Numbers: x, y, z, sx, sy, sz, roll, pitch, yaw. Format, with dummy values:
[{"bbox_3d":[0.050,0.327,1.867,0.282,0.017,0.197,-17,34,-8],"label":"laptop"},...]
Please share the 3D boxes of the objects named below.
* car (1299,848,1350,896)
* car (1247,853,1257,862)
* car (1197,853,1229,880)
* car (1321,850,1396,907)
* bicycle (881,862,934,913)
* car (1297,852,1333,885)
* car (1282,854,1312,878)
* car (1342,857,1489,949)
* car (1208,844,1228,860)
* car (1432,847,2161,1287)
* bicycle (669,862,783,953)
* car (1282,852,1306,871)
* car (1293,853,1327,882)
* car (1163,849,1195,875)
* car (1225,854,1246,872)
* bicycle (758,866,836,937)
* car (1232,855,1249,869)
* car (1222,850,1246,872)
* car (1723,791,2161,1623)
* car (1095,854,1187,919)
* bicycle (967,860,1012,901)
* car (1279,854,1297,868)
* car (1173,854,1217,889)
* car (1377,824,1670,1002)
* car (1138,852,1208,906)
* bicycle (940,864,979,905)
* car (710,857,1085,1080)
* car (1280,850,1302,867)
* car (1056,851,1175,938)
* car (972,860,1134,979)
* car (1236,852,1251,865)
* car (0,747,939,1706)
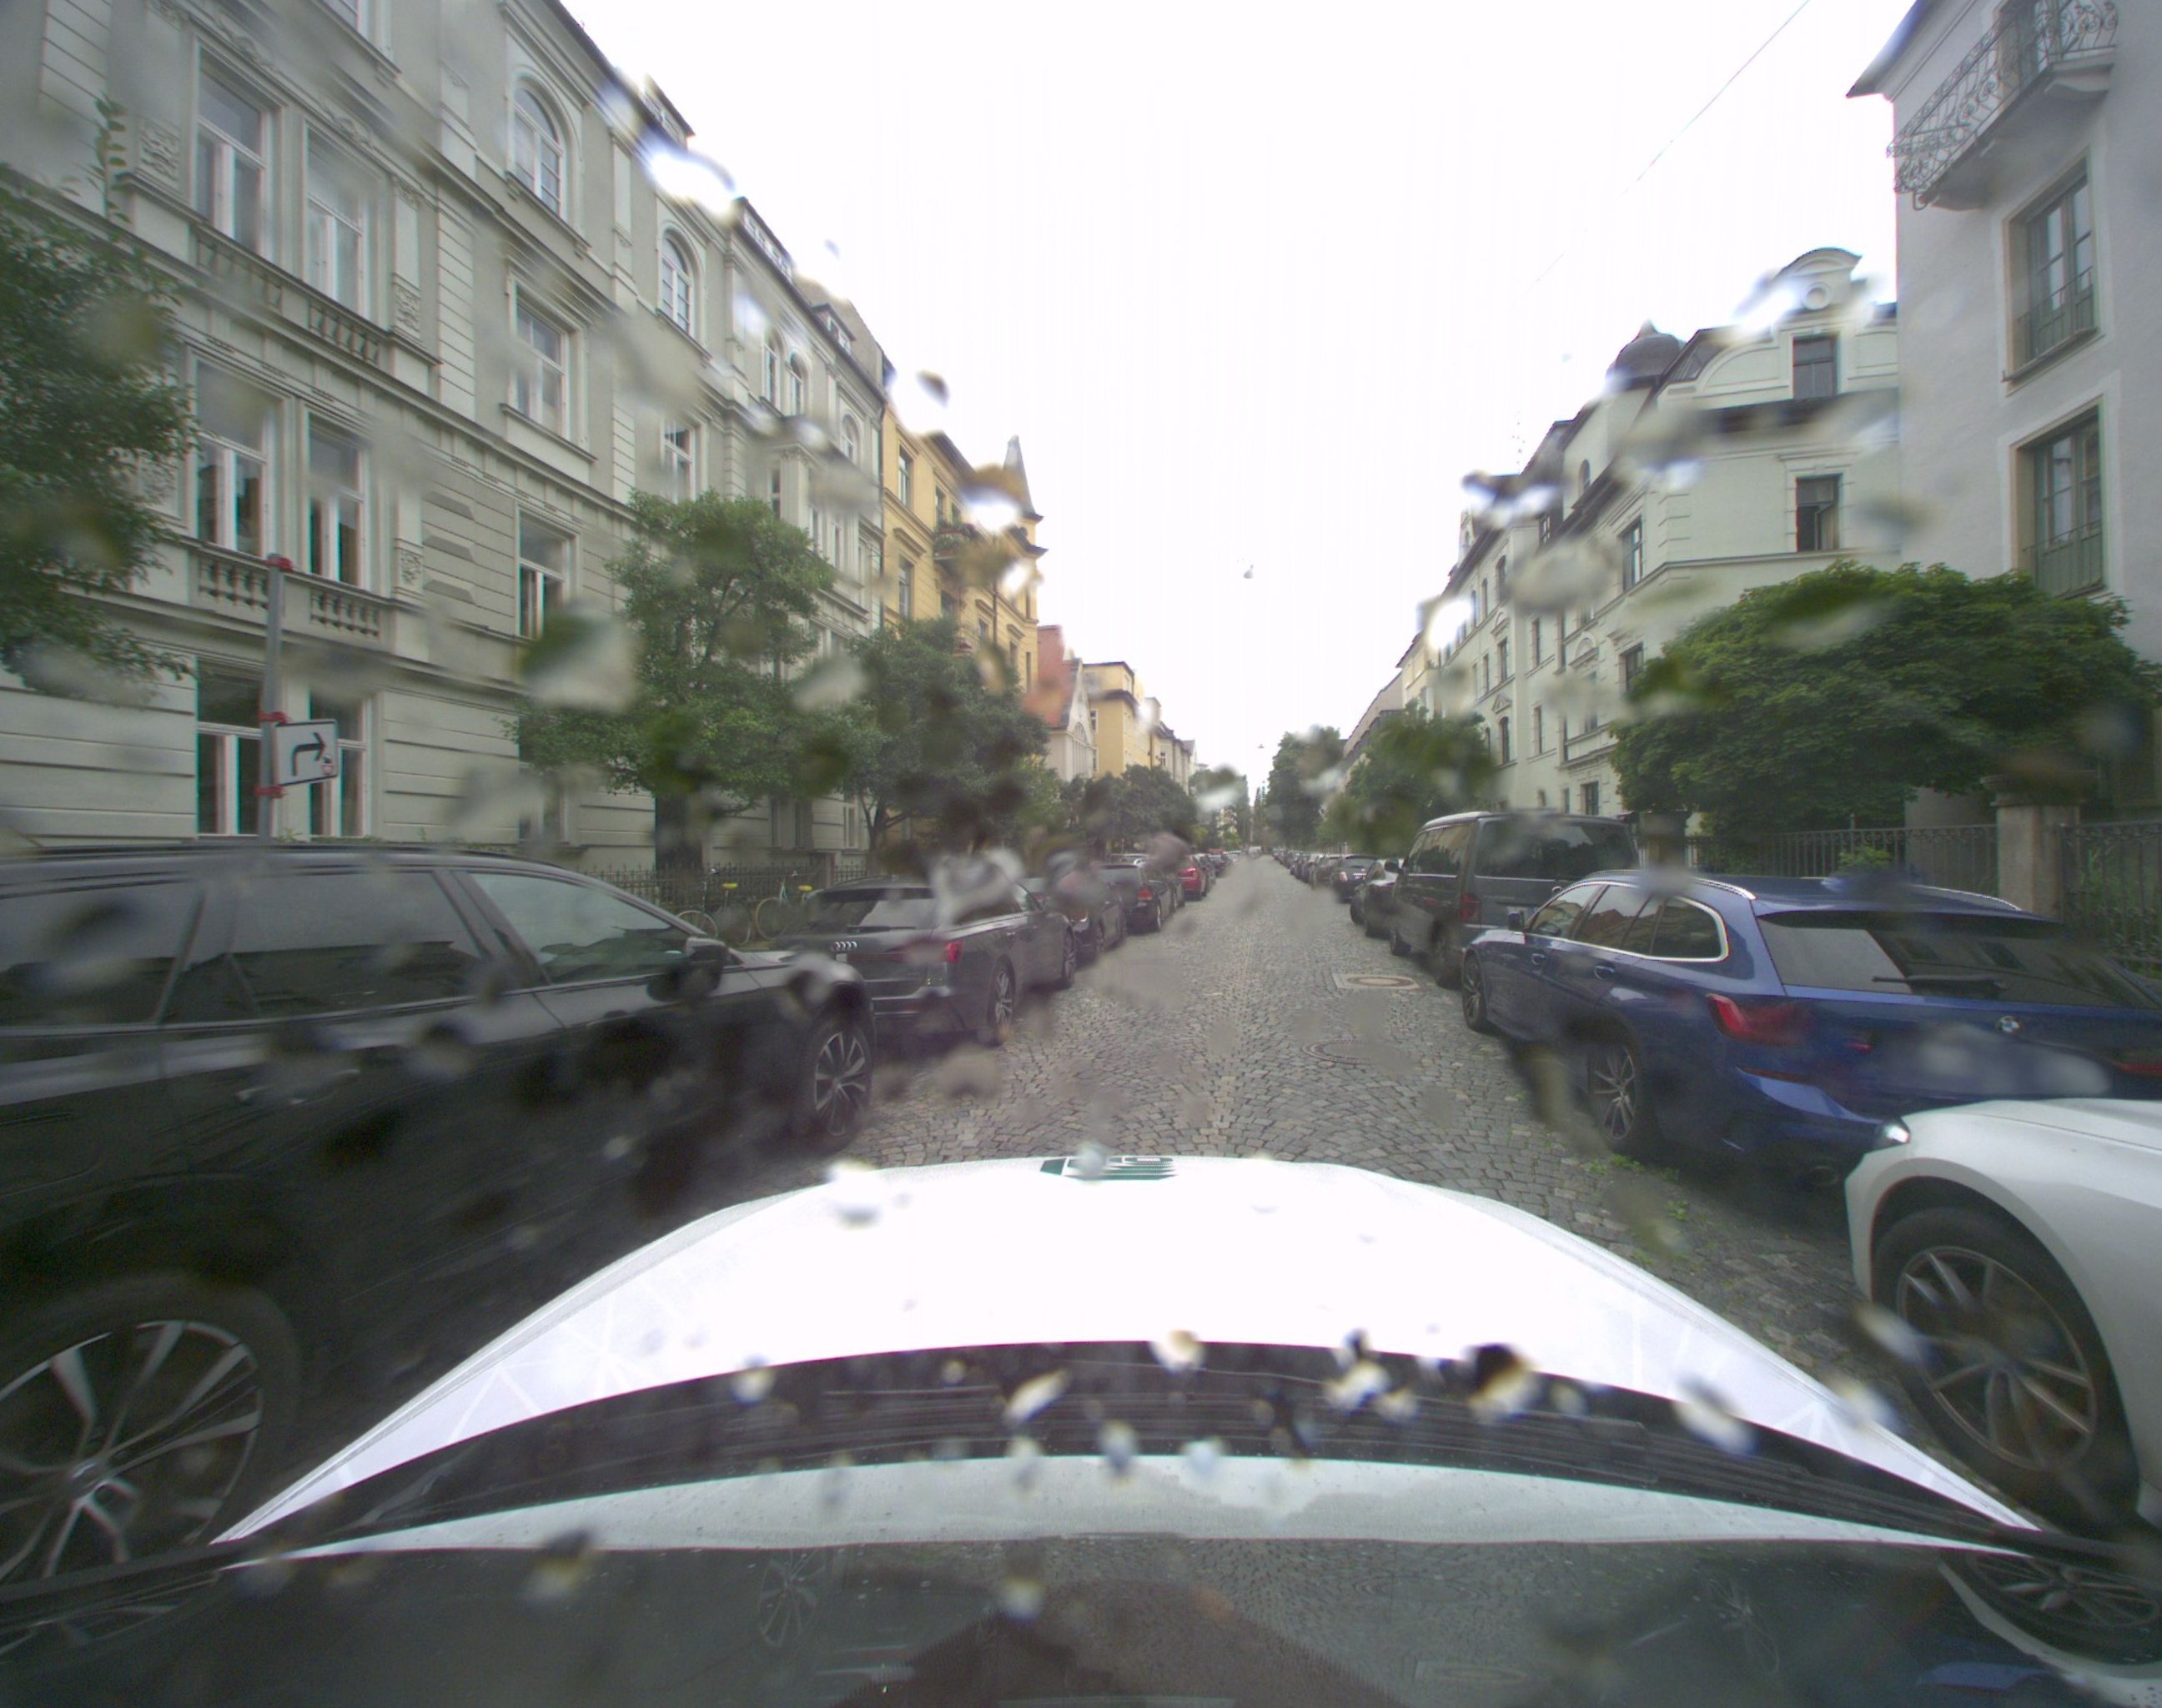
[{"bbox_3d":[8.968,0.651,30.236,1.648,1.635,3.553,-1,-1,14],"label":"car"},{"bbox_3d":[33.680,0.698,160.230,1.909,1.635,3.751,-4,-1,12],"label":"car"},{"bbox_3d":[8.534,0.801,52.530,1.910,1.635,3.749,-1,-1,10],"label":"car"},{"bbox_3d":[8.798,0.735,26.082,1.908,1.635,4.061,1,0,14],"label":"car"},{"bbox_3d":[-4.012,0.761,18.979,0.368,1.102,1.842,0,0,17],"label":"bicycle"},{"bbox_3d":[11.820,0.725,41.064,1.585,1.503,3.276,-4,-2,17],"label":"car"},{"bbox_3d":[14.813,0.813,55.937,1.649,1.465,3.459,-4,-1,11],"label":"car"},{"bbox_3d":[6.277,0.813,15.854,1.908,1.434,4.819,2,0,14],"label":"car"},{"bbox_3d":[15.399,-0.215,91.581,1.909,1.635,3.751,-4,-1,12],"label":"car"},{"bbox_3d":[3.844,0.764,5.308,1.916,1.506,4.891,1,0,12],"label":"car"},{"bbox_3d":[-5.311,0.756,12.337,0.497,1.248,1.986,0,0,12],"label":"bicycle"},{"bbox_3d":[20.294,0.716,77.570,1.909,1.635,3.751,-4,-1,12],"label":"car"},{"bbox_3d":[12.929,0.740,46.017,1.648,1.456,3.462,-4,-2,15],"label":"car"},{"bbox_3d":[6.456,0.517,53.499,1.767,1.635,3.750,-1,-1,11],"label":"car"},{"bbox_3d":[16.249,0.941,85.523,1.909,1.635,3.751,-4,-1,12],"label":"car"},{"bbox_3d":[-4.964,0.799,14.364,0.360,1.133,1.893,0,0,12],"label":"bicycle"},{"bbox_3d":[20.568,1.089,104.954,1.909,1.635,3.751,-4,-1,12],"label":"car"},{"bbox_3d":[13.729,0.631,72.752,1.909,1.839,3.751,-4,-2,12],"label":"car"},{"bbox_3d":[2.715,0.684,0.310,1.894,1.531,4.939,2,1,12],"label":"car"},{"bbox_3d":[1.791,0.852,22.889,1.909,1.546,4.013,-4,-1,12],"label":"car"},{"bbox_3d":[-2.653,0.739,23.737,0.414,1.143,1.775,0,0,25],"label":"bicycle"},{"bbox_3d":[25.772,0.897,101.539,1.909,1.635,3.751,-4,-1,12],"label":"car"},{"bbox_3d":[5.509,0.819,39.011,1.648,1.534,3.498,-1,-1,14],"label":"car"},{"bbox_3d":[5.153,0.559,10.343,2.008,1.690,4.867,0,0,12],"label":"car"},{"bbox_3d":[3.265,0.826,28.209,1.909,1.635,3.819,-4,-2,12],"label":"car"},{"bbox_3d":[-3.259,0.800,21.981,0.415,1.027,1.771,0,0,13],"label":"bicycle"},{"bbox_3d":[-1.323,0.837,8.342,1.794,1.505,5.192,-3,0,10],"label":"car"},{"bbox_3d":[21.981,0.473,85.365,1.909,1.635,3.751,-4,-1,12],"label":"car"},{"bbox_3d":[0.877,0.790,17.470,1.715,1.540,4.351,-4,-1,12],"label":"car"},{"bbox_3d":[-0.279,0.916,12.903,1.692,1.516,3.738,-3,0,11],"label":"car"},{"bbox_3d":[23.230,0.644,116.110,1.909,1.635,3.751,-4,-1,12],"label":"car"},{"bbox_3d":[-2.492,0.716,3.166,1.924,1.652,5.071,-4,-1,12],"label":"car"}]
